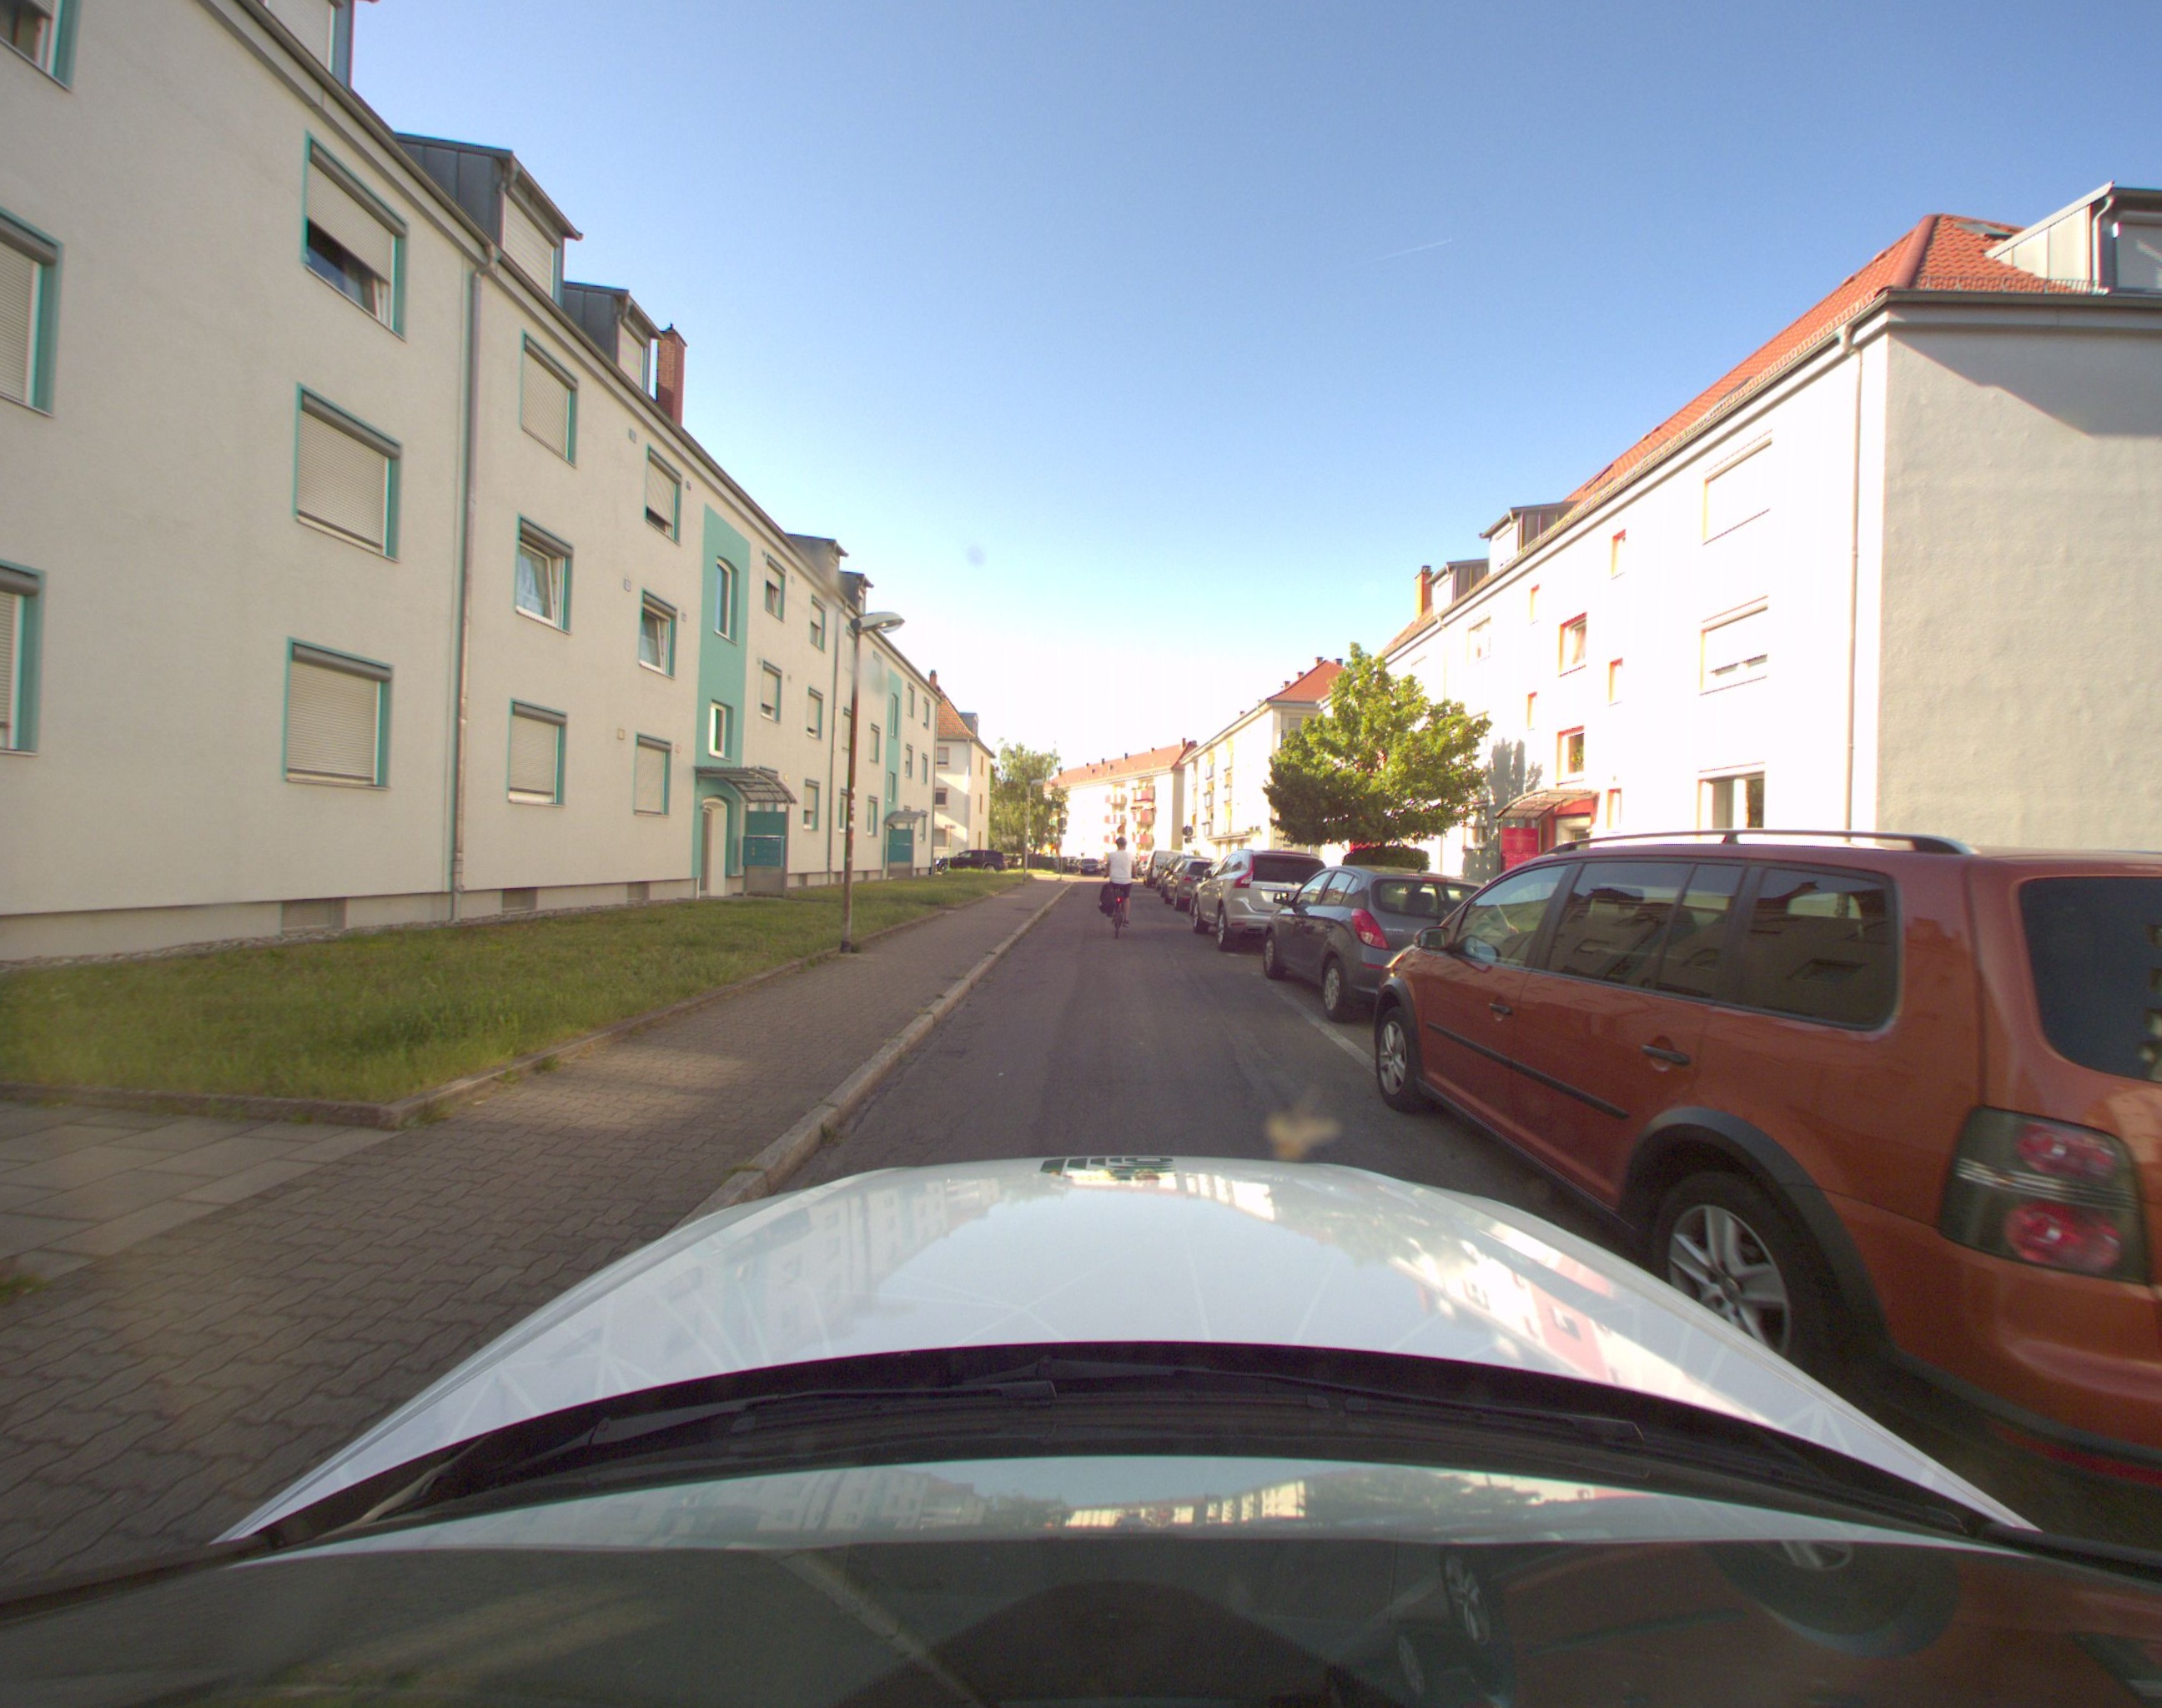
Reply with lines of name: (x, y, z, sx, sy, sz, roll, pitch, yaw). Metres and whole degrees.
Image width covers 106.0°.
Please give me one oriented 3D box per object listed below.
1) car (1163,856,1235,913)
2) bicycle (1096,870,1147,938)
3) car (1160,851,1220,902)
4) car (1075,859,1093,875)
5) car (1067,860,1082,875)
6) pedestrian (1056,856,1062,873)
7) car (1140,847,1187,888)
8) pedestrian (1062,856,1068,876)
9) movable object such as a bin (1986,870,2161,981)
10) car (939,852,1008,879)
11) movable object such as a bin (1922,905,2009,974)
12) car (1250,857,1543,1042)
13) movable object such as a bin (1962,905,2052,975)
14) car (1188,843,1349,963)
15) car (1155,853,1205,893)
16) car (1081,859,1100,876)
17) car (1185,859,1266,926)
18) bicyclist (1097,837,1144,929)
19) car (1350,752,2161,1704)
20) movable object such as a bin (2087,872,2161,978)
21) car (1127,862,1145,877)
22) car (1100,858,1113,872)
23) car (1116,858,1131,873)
car: (3.306, 0.792, 23.335, 1.553, 1.411, 3.935, 2, 0, 2)
bicycle: (0.716, 0.885, 15.086, 0.806, 1.128, 2.101, 0, 0, -1)
car: (3.667, 0.717, 27.905, 1.554, 1.576, 3.365, 2, 0, 0)
car: (0.258, 1.156, 75.085, 1.466, 1.335, 3.138, -2, 0, -2)
car: (-0.664, 1.325, 81.750, 1.465, 1.335, 3.139, -2, 0, -1)
pedestrian: (-1.789, 0.858, 66.829, 0.432, 1.427, 0.543, 2, 0, 1)
car: (3.758, 0.599, 37.717, 1.669, 1.738, 3.942, 2, 0, 0)
pedestrian: (-1.313, 0.972, 66.868, 0.432, 1.574, 0.543, 2, 0, 1)
movable object such as a bin: (13.876, 0.953, 11.288, 1.355, 1.416, 1.188, 1, 0, 1)
car: (-6.802, 0.731, 51.867, 4.221, 1.638, 1.581, 1, 0, -3)
movable object such as a bin: (12.372, 1.189, 11.409, 0.521, 0.886, 0.633, 1, 0, 2)
car: (3.124, 0.834, 8.945, 1.613, 1.460, 3.839, 4, 0, -1)
movable object such as a bin: (12.927, 1.187, 11.384, 0.521, 0.886, 0.633, 1, 0, 2)
car: (3.028, 0.701, 14.081, 1.695, 1.671, 4.379, 3, 0, 0)
car: (3.939, 0.726, 32.871, 1.554, 1.453, 3.365, 2, 0, 0)
car: (0.810, 1.168, 70.702, 1.466, 1.335, 3.137, -2, 0, -3)
car: (3.377, 0.847, 19.476, 1.386, 1.403, 3.245, 2, 0, 2)
bicyclist: (0.722, 0.525, 15.098, 0.806, 1.643, 0.898, 0, 0, -1)
car: (2.766, 0.723, 3.494, 1.855, 1.668, 4.128, 4, 0, 1)
movable object such as a bin: (15.360, 0.984, 11.295, 1.355, 1.416, 1.188, 1, 0, 1)
car: (5.405, 1.499, 80.183, 1.465, 1.335, 3.140, 2, 0, 0)
car: (3.147, 1.340, 99.799, 1.465, 1.516, 3.076, 2, 0, 0)
car: (4.514, 1.171, 87.067, 1.377, 1.497, 3.076, 2, 0, 0)
